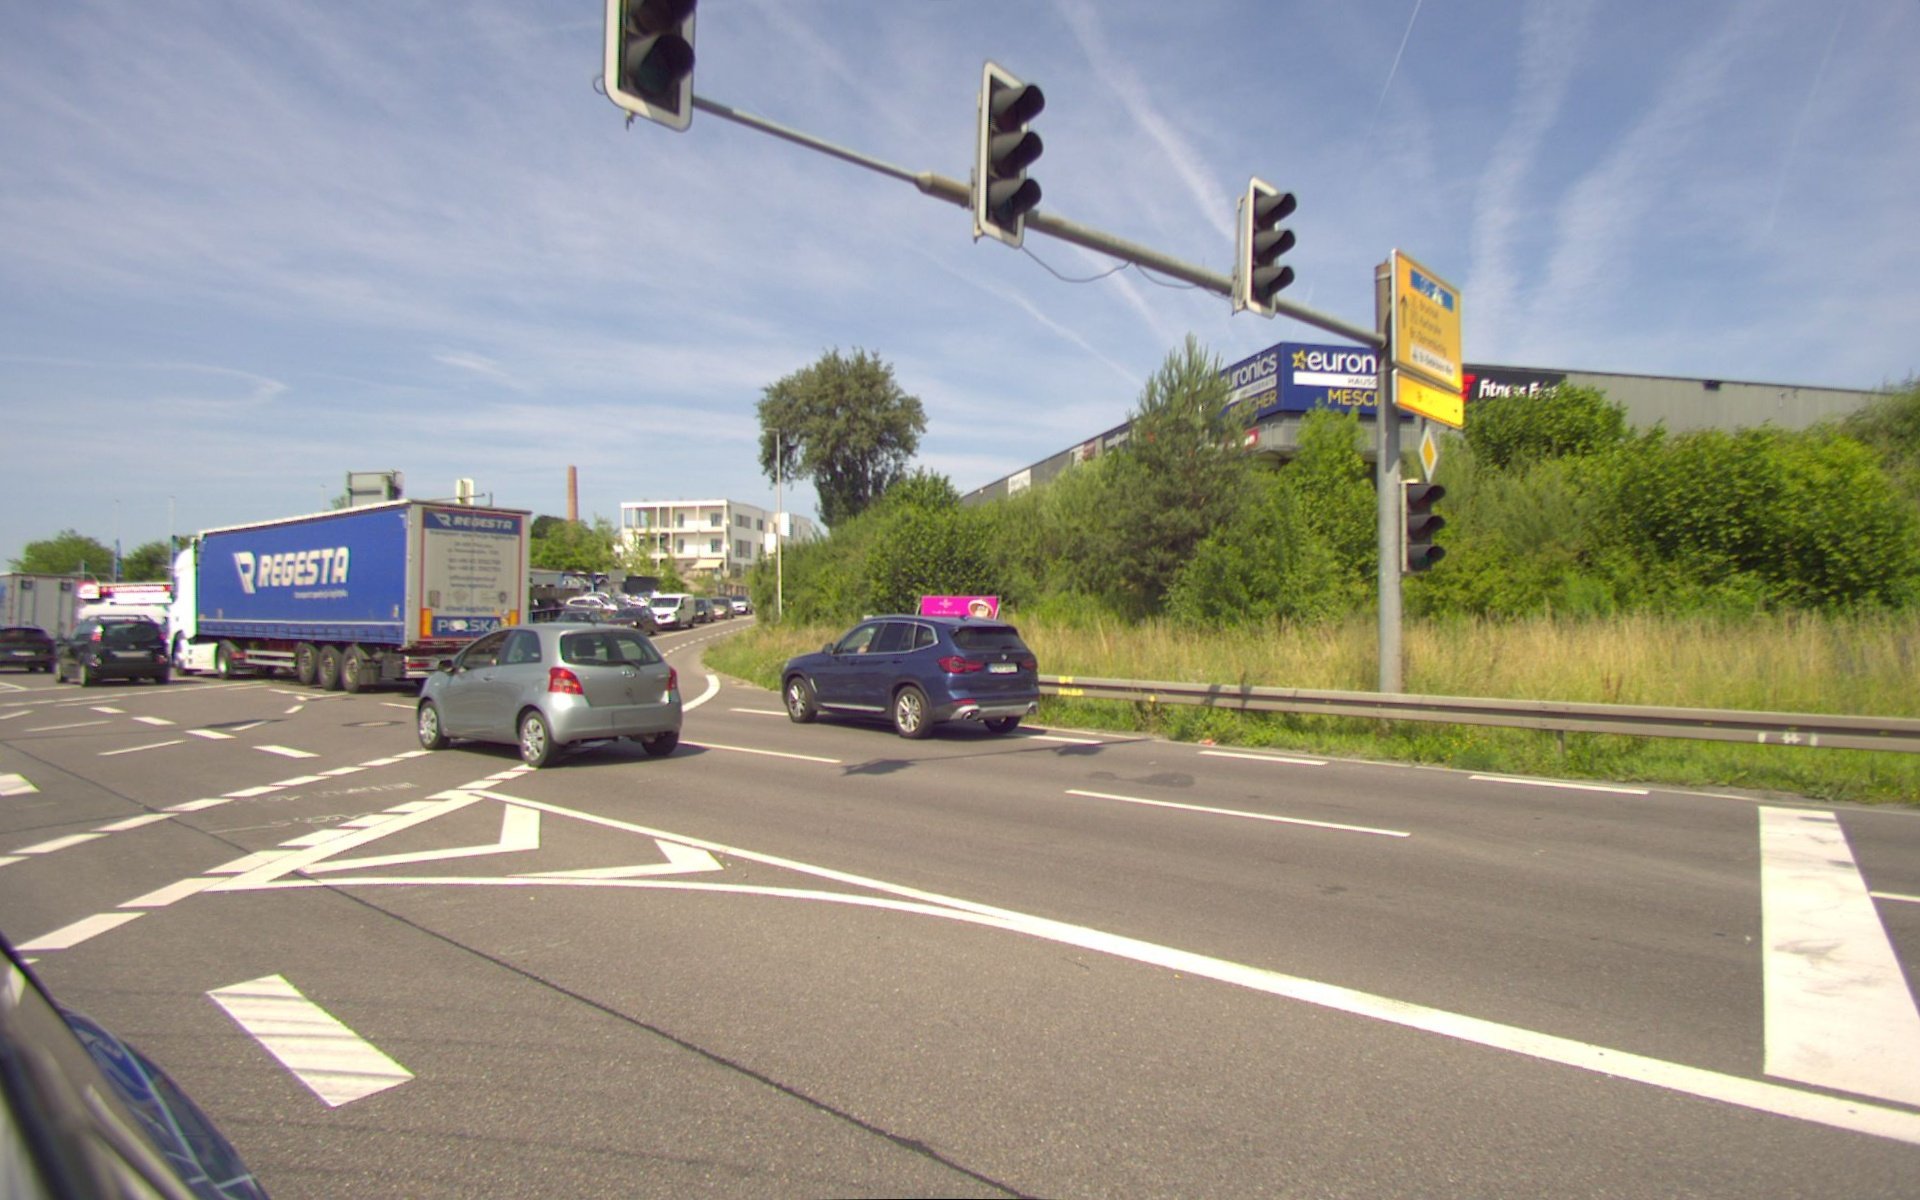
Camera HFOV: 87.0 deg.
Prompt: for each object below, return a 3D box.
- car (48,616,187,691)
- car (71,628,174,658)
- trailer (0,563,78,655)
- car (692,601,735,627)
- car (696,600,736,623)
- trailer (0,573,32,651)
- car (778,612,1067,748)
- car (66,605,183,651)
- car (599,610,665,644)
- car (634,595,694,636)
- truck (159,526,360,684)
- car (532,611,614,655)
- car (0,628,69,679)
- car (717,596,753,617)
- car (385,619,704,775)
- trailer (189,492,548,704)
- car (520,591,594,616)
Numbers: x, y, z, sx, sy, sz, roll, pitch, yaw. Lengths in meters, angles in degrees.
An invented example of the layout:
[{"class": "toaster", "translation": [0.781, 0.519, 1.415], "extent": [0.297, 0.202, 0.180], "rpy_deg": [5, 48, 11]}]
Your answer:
[{"class": "car", "translation": [-21.064, 1.281, 25.274], "extent": [3.997, 1.739, 1.973], "rpy_deg": [-1, -2, 40]}, {"class": "car", "translation": [-47.580, 2.430, 57.608], "extent": [2.010, 1.635, 4.164], "rpy_deg": [0, -2, 14]}, {"class": "trailer", "translation": [-48.254, 0.553, 51.560], "extent": [13.864, 4.179, 2.665], "rpy_deg": [-1, -2, 39]}, {"class": "car", "translation": [-16.191, 0.894, 66.723], "extent": [1.970, 1.574, 4.513], "rpy_deg": [0, 1, -3]}, {"class": "car", "translation": [-17.669, 0.824, 73.469], "extent": [1.971, 1.574, 4.511], "rpy_deg": [0, 1, -2]}, {"class": "trailer", "translation": [-53.728, 0.693, 55.964], "extent": [6.173, 4.136, 2.619], "rpy_deg": [-1, -2, 39]}, {"class": "car", "translation": [-0.690, 1.048, 14.794], "extent": [1.969, 1.689, 4.313], "rpy_deg": [1, -2, -41]}, {"class": "car", "translation": [-54.690, 1.858, 66.340], "extent": [2.116, 2.860, 5.645], "rpy_deg": [-3, -3, 43]}, {"class": "car", "translation": [-16.165, 1.296, 50.109], "extent": [1.921, 1.429, 4.978], "rpy_deg": [0, 1, -3]}, {"class": "car", "translation": [-16.625, 0.832, 57.088], "extent": [2.037, 2.057, 5.519], "rpy_deg": [-1, 1, -3]}, {"class": "truck", "translation": [-20.573, 0.216, 29.622], "extent": [6.339, 4.111, 3.156], "rpy_deg": [-1, -2, 39]}, {"class": "car", "translation": [-16.084, 1.344, 42.311], "extent": [1.887, 1.538, 4.640], "rpy_deg": [-1, 1, -3]}, {"class": "car", "translation": [-29.734, 1.624, 31.630], "extent": [4.447, 1.496, 1.975], "rpy_deg": [-1, -2, 37]}, {"class": "car", "translation": [-18.063, 0.479, 81.378], "extent": [1.971, 1.574, 4.511], "rpy_deg": [0, 1, -2]}, {"class": "car", "translation": [-4.925, 0.997, 11.777], "extent": [3.995, 1.513, 1.708], "rpy_deg": [-1, -2, 39]}, {"class": "trailer", "translation": [-15.398, 0.108, 25.353], "extent": [14.113, 4.111, 3.062], "rpy_deg": [-1, -2, 40]}, {"class": "car", "translation": [-25.676, 0.195, 64.577], "extent": [4.012, 1.574, 2.001], "rpy_deg": [0, 1, -1]}]
